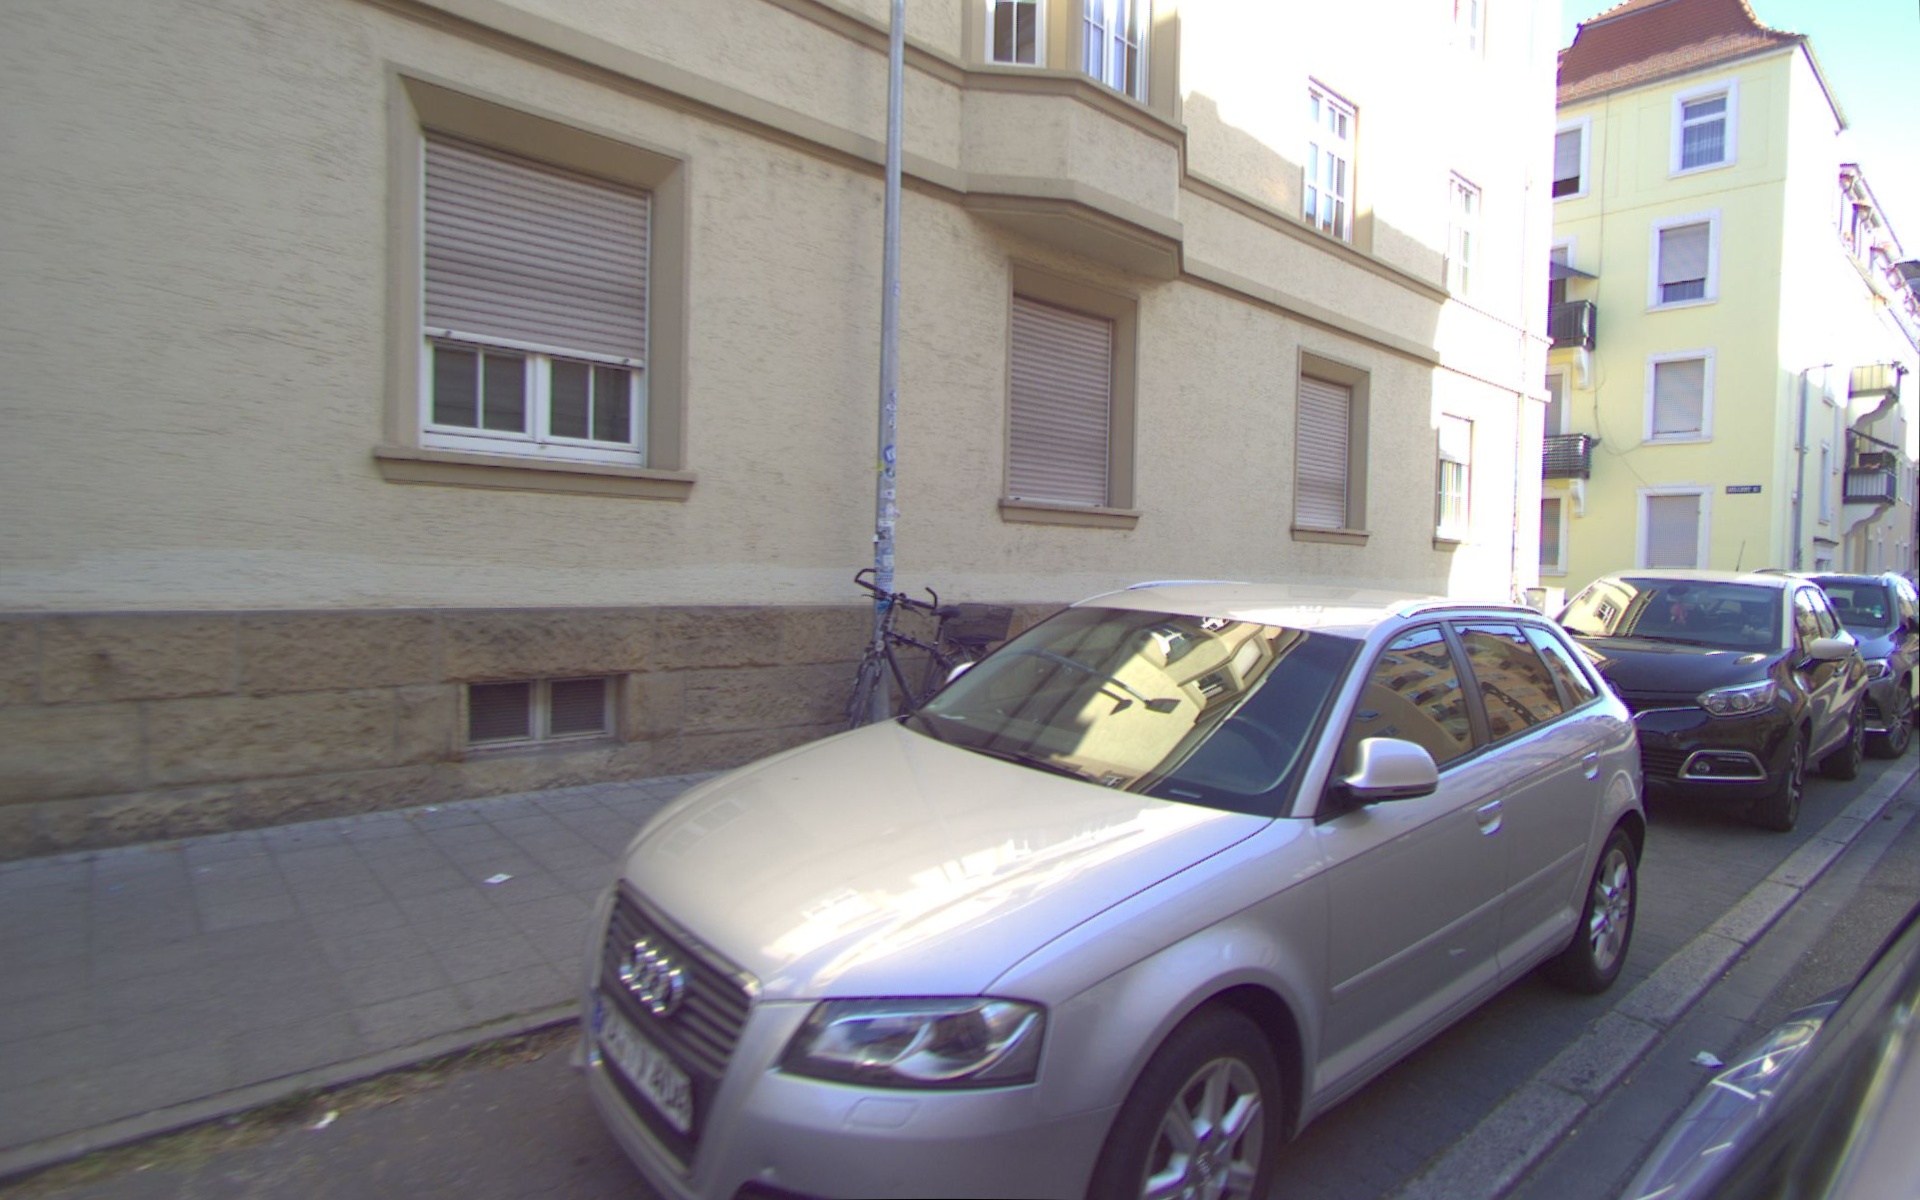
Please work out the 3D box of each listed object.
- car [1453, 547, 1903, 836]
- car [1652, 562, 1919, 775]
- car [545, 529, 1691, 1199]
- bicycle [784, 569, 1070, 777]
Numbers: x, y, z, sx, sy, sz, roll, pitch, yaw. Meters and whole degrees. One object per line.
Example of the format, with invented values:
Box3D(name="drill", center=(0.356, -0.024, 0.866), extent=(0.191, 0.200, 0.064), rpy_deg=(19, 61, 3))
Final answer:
Box3D(name="car", center=(5.386, 0.469, 7.422), extent=(3.844, 1.565, 1.684), rpy_deg=(0, 3, -39))
Box3D(name="car", center=(8.755, 0.522, 10.181), extent=(4.355, 1.685, 1.791), rpy_deg=(0, 2, -39))
Box3D(name="car", center=(0.931, 0.595, 3.452), extent=(4.023, 1.482, 1.656), rpy_deg=(0, 2, -42))
Box3D(name="bicycle", center=(-0.172, 0.415, 6.949), extent=(0.830, 1.216, 1.925), rpy_deg=(2, 2, 44))
